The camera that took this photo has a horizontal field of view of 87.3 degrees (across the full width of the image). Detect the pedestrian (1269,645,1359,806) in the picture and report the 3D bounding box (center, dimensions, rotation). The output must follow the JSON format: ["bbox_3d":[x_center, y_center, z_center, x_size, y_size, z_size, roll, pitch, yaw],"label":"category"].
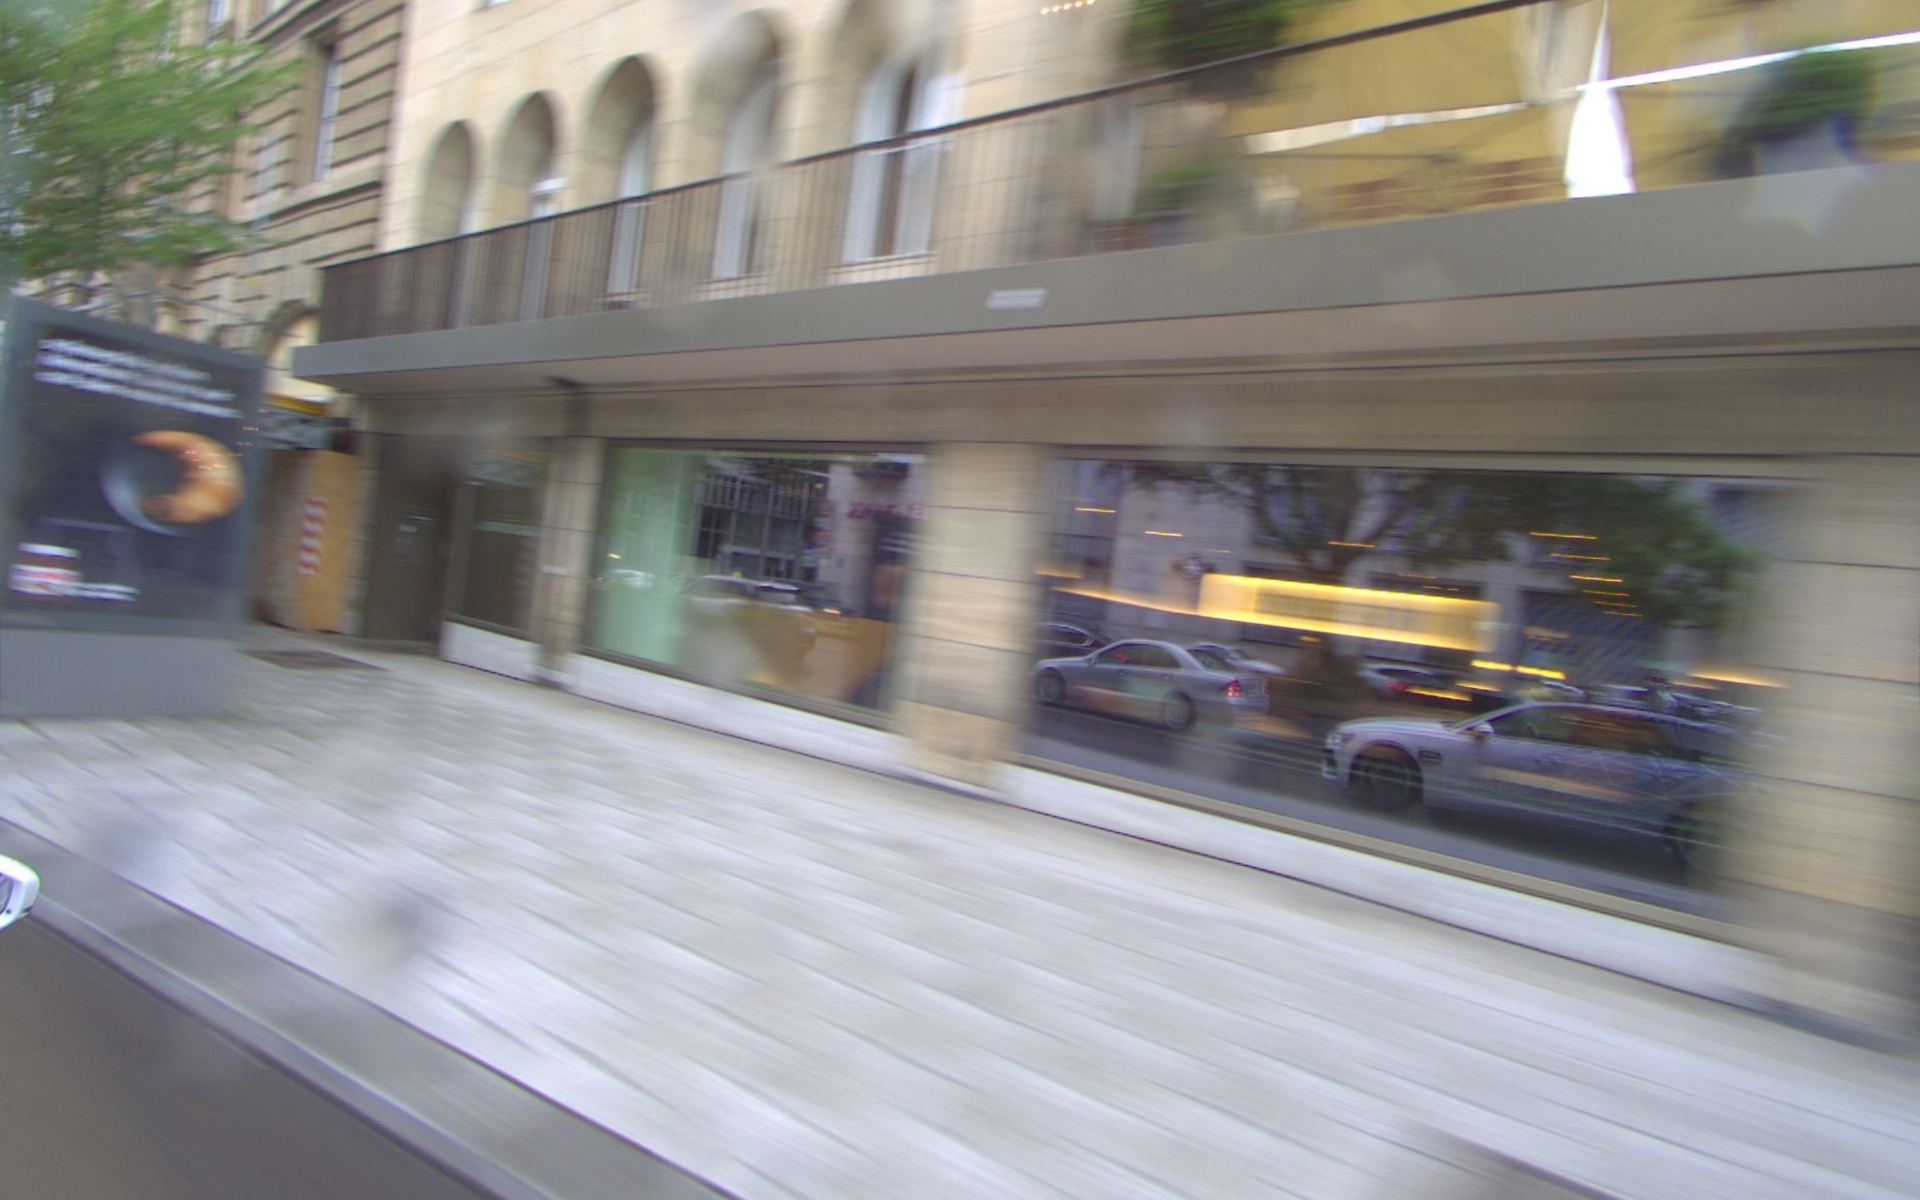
[{"bbox_3d":[2.617,0.914,7.428,0.471,1.086,0.341,8,0,24],"label":"pedestrian"}]

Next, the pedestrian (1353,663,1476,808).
[{"bbox_3d":[3.786,1.115,8.425,0.597,1.068,0.622,8,-1,-2],"label":"pedestrian"}]

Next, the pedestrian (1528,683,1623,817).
[{"bbox_3d":[5.458,1.320,8.919,0.537,1.068,0.554,8,-1,39],"label":"pedestrian"}]

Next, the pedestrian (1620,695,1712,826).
[{"bbox_3d":[6.387,1.436,9.093,0.537,1.068,0.554,8,-1,39],"label":"pedestrian"}]

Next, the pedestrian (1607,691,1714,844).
[{"bbox_3d":[5.469,1.290,7.849,0.537,1.068,0.554,8,-1,39],"label":"pedestrian"}]

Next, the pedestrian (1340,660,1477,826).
[{"bbox_3d":[3.261,1.020,7.366,0.597,1.068,0.623,8,-1,1],"label":"pedestrian"}]

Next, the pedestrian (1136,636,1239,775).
[{"bbox_3d":[1.926,0.891,8.512,0.537,1.068,0.554,8,-1,39],"label":"pedestrian"}]

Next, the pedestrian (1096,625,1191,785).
[{"bbox_3d":[1.351,0.762,7.384,0.472,1.086,0.329,8,0,28],"label":"pedestrian"}]

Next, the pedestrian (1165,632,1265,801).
[{"bbox_3d":[1.778,0.801,7.009,0.472,1.086,0.329,8,0,28],"label":"pedestrian"}]

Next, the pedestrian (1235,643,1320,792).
[{"bbox_3d":[2.508,0.916,7.931,0.471,1.086,0.330,8,0,24],"label":"pedestrian"}]

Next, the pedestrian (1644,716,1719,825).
[{"bbox_3d":[7.896,1.849,11.008,0.537,1.068,0.554,8,-1,39],"label":"pedestrian"}]

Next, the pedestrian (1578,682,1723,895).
[{"bbox_3d":[3.943,1.048,5.740,0.537,1.068,0.554,8,-1,39],"label":"pedestrian"}]

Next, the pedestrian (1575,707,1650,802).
[{"bbox_3d":[8.293,1.949,12.781,0.642,1.068,0.554,7,-1,39],"label":"pedestrian"}]

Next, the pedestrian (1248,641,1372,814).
[{"bbox_3d":[2.365,0.856,6.814,0.538,1.068,0.406,8,0,-22],"label":"pedestrian"}]

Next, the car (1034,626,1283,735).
[{"bbox_3d":[3.474,1.399,17.972,3.943,1.351,1.665,6,-2,40],"label":"car"}]

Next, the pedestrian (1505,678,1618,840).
[{"bbox_3d":[4.468,1.162,7.465,0.537,1.068,0.554,8,-1,39],"label":"pedestrian"}]

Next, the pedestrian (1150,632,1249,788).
[{"bbox_3d":[1.841,0.830,7.715,0.530,1.086,0.433,8,0,24],"label":"pedestrian"}]

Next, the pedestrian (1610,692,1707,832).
[{"bbox_3d":[5.968,1.371,8.589,0.537,1.068,0.554,8,-1,39],"label":"pedestrian"}]

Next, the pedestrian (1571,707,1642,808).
[{"bbox_3d":[7.570,1.833,11.773,0.537,1.068,0.554,8,-1,39],"label":"pedestrian"}]

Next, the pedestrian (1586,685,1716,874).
[{"bbox_3d":[4.435,1.128,6.449,0.537,1.068,0.554,8,-1,39],"label":"pedestrian"}]

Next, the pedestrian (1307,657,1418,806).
[{"bbox_3d":[3.207,1.035,8.048,0.554,1.068,0.479,8,0,-2],"label":"pedestrian"}]

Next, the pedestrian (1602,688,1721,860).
[{"bbox_3d":[4.920,1.200,7.051,0.537,1.068,0.554,8,-1,39],"label":"pedestrian"}]

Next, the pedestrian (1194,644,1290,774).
[{"bbox_3d":[2.549,0.981,9.082,0.537,1.068,0.554,8,-1,39],"label":"pedestrian"}]
